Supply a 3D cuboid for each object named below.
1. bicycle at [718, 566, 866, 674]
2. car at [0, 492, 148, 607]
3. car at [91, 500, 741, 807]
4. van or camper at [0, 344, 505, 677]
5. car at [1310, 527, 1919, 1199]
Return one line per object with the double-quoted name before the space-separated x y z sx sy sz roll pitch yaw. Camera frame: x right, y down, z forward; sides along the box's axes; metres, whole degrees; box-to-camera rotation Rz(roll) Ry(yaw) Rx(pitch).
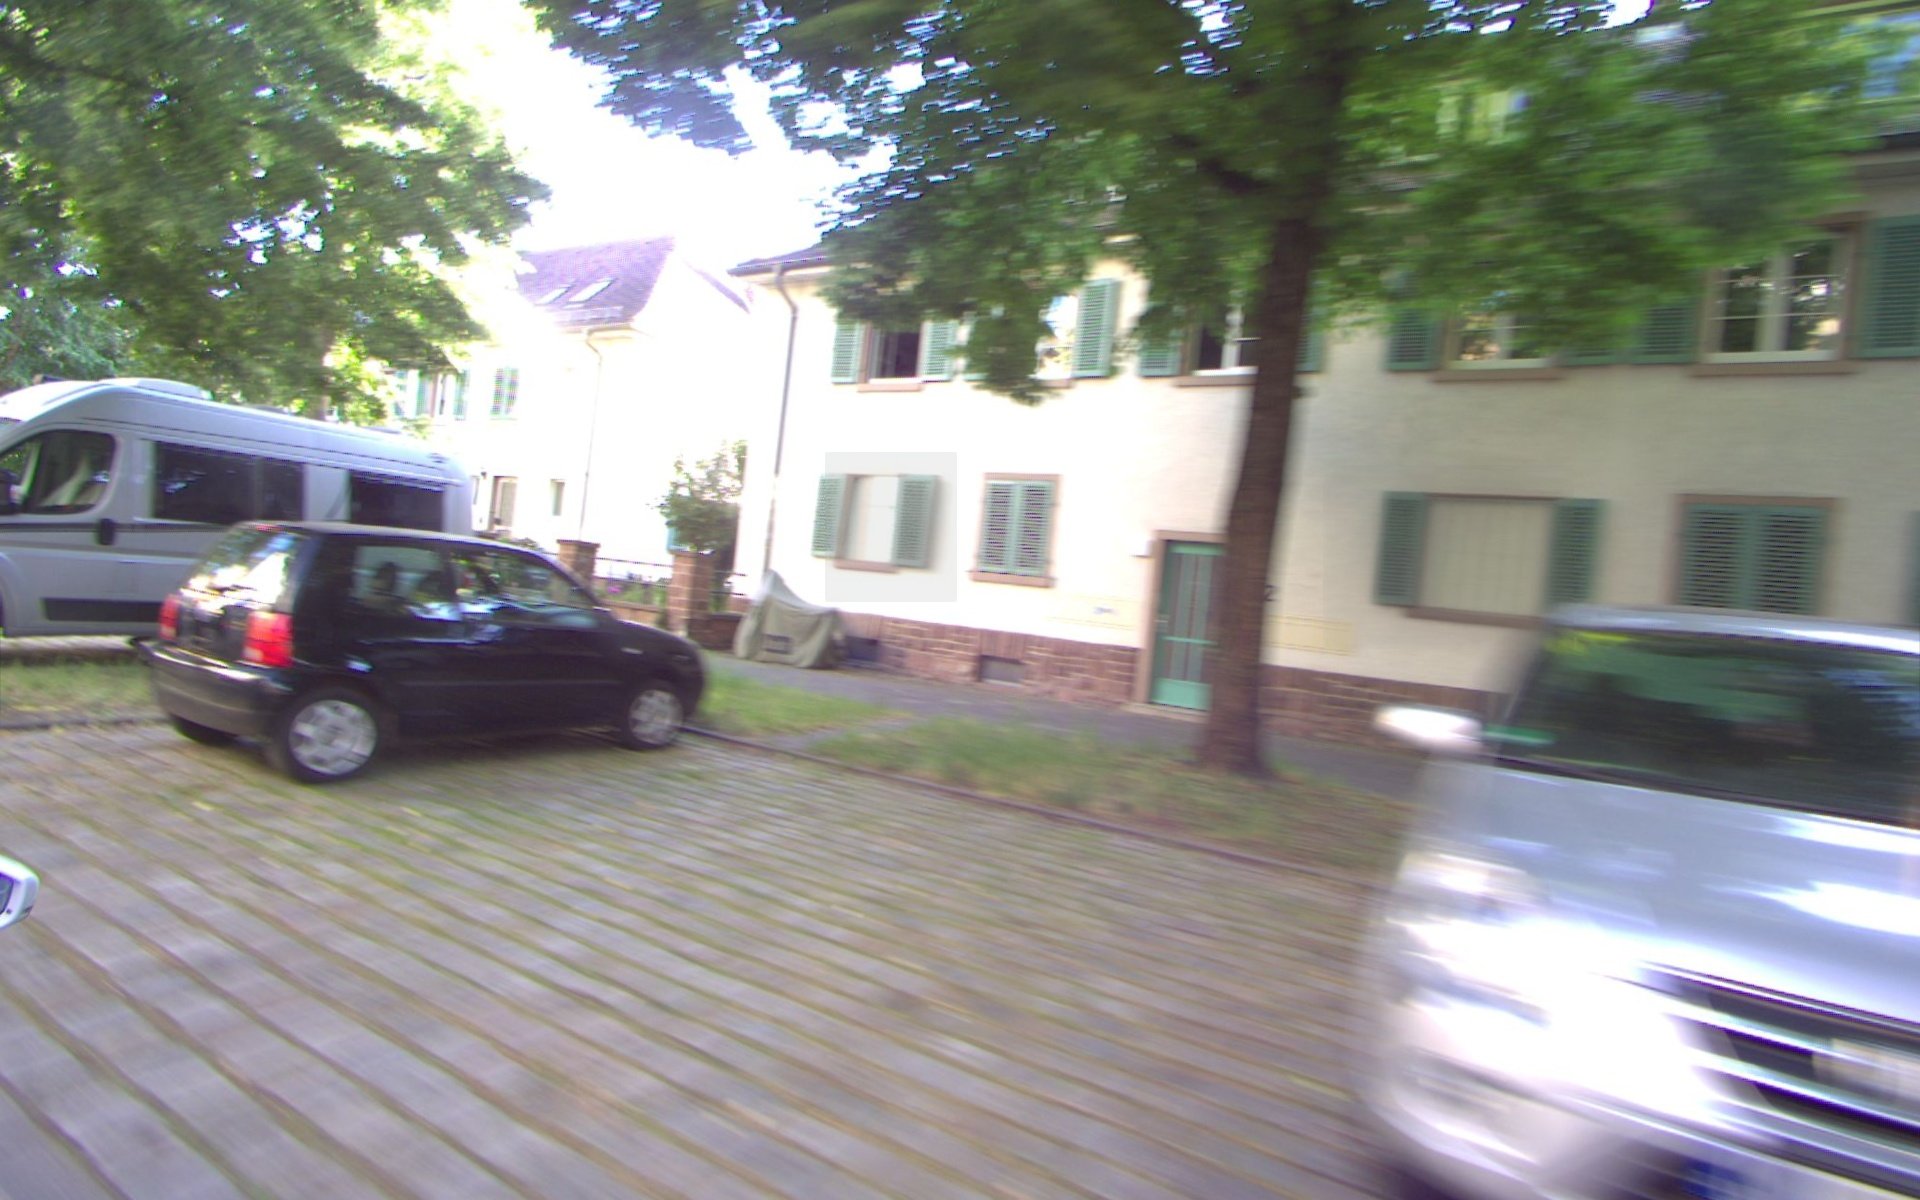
"bicycle" -2.573 0.300 15.433 1.967 1.417 0.802 6 1 18
"car" -14.127 -0.831 13.614 1.786 1.471 4.505 5 0 32
"car" -3.416 0.301 6.945 1.722 1.491 3.504 5 0 30
"van or camper" -7.634 -0.726 9.717 2.230 2.570 5.577 5 1 29
"car" 2.629 0.853 3.373 1.909 1.692 4.478 7 3 29
